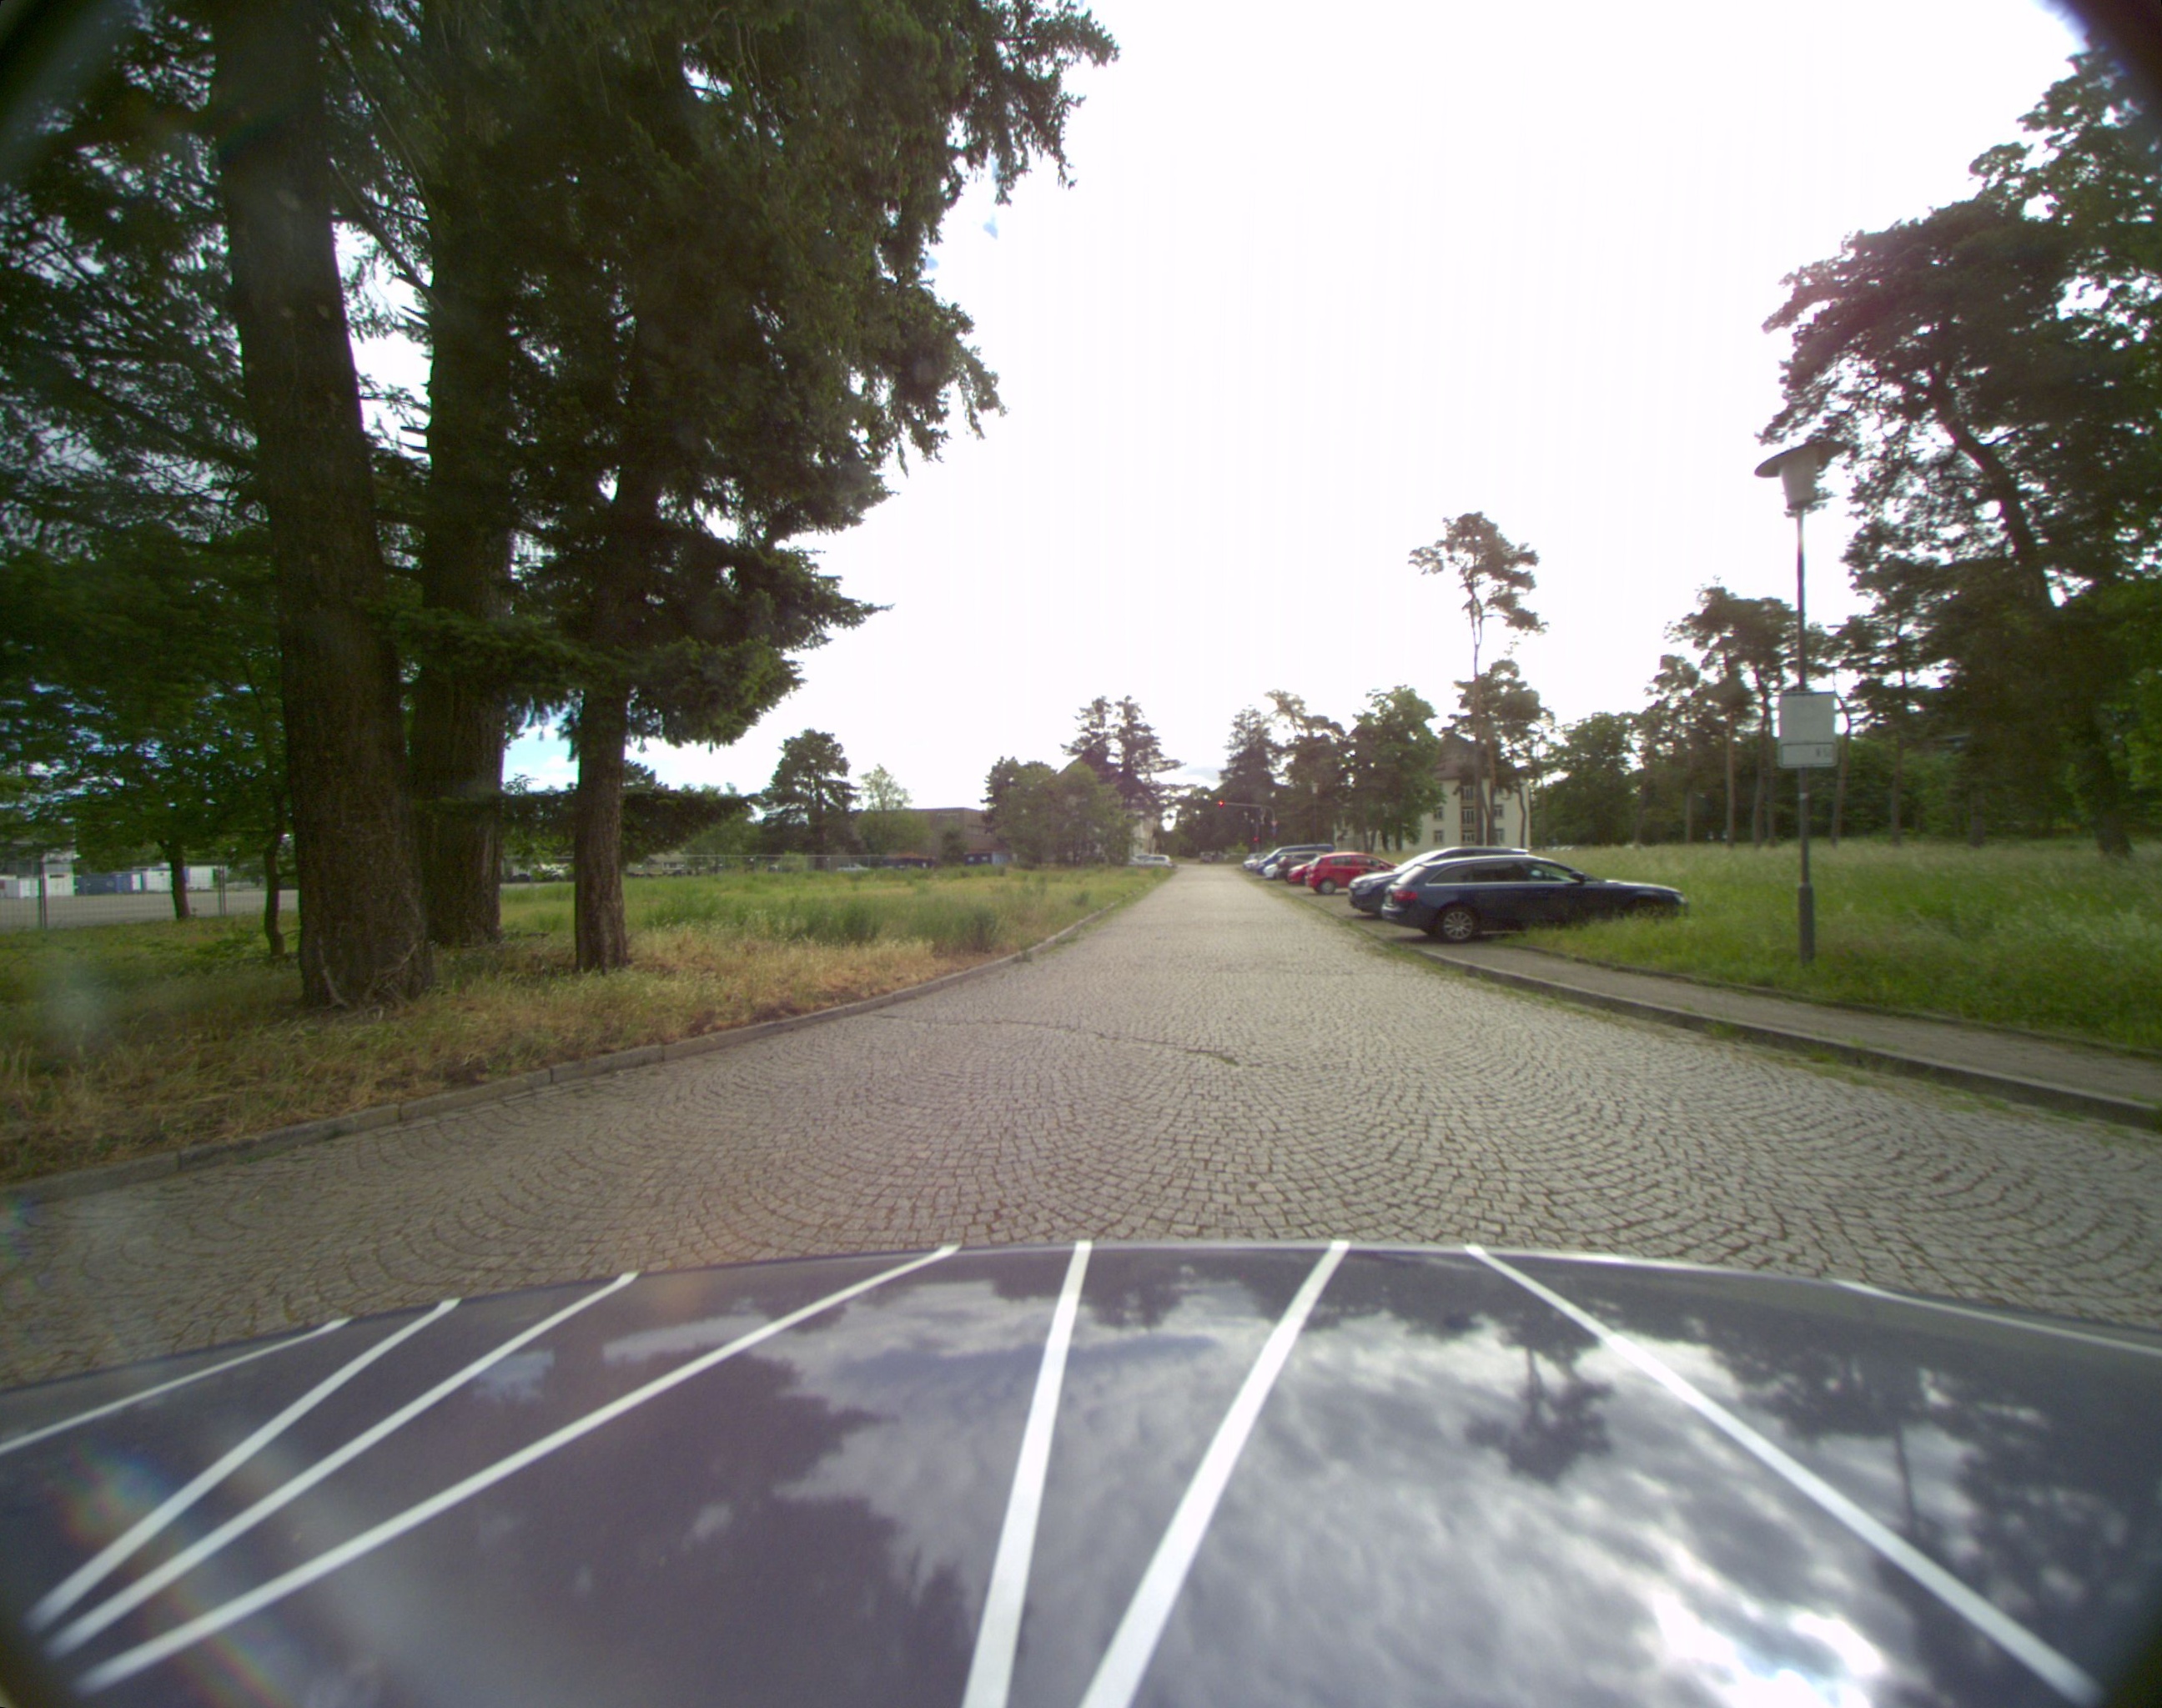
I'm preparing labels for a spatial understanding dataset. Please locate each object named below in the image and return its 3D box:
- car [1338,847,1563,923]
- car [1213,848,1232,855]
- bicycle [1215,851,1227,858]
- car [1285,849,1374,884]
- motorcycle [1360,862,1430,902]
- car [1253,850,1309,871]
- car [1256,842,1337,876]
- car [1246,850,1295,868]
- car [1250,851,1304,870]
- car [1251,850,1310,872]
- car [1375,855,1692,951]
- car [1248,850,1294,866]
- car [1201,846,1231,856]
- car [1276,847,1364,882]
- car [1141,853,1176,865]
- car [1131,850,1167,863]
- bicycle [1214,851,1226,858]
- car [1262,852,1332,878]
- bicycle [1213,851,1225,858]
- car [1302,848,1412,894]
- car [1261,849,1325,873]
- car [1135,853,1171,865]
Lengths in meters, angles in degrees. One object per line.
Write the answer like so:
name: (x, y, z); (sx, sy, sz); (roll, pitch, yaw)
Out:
car: (8.468, 0.692, 17.774); (4.360, 1.553, 1.765); (-2, 0, 8)
car: (24.802, -0.432, 133.526); (3.116, 1.046, 1.340); (-1, 1, 2)
bicycle: (22.203, 0.019, 120.520); (1.860, 1.089, 0.511); (-1, 1, 2)
car: (11.544, 0.557, 35.503); (3.658, 1.413, 1.578); (-3, 0, 8)
motorcycle: (9.649, 0.852, 23.383); (1.913, 1.186, 0.550); (-1, 1, 4)
car: (15.229, 0.480, 57.991); (3.948, 1.331, 1.585); (-3, 0, 8)
car: (13.239, 0.303, 46.947); (4.539, 1.891, 1.794); (-3, 0, 8)
car: (16.185, 0.455, 65.042); (3.948, 1.331, 1.585); (-3, 0, 8)
car: (15.599, 0.530, 60.684); (3.948, 1.331, 1.585); (-3, 0, 8)
car: (14.412, 0.498, 55.094); (3.948, 1.331, 1.585); (-3, 0, 8)
car: (7.558, 0.822, 13.157); (4.348, 1.397, 1.765); (-2, 0, 12)
car: (17.522, 0.361, 70.347); (3.948, 1.331, 1.585); (-3, 0, 8)
car: (24.326, -0.511, 136.908); (4.982, 1.612, 1.902); (-1, 1, 2)
car: (11.936, 0.503, 38.182); (3.948, 1.536, 1.765); (-3, 0, 8)
car: (7.475, 0.466, 73.499); (3.265, 1.081, 1.397); (-1, 1, 5)
car: (6.863, 0.255, 76.516); (3.591, 1.203, 1.585); (-1, 1, 8)
bicycle: (21.877, 0.038, 119.734); (1.860, 1.089, 0.511); (-1, 1, 2)
car: (12.586, 0.634, 44.498); (3.690, 1.331, 1.585); (-3, 0, 8)
bicycle: (21.662, 0.053, 119.326); (1.860, 1.089, 0.511); (-1, 1, 2)
car: (10.076, 0.618, 27.971); (3.495, 1.473, 1.603); (-3, 0, 8)
car: (14.473, 0.467, 51.975); (3.948, 1.426, 1.585); (-3, 0, 8)
car: (6.740, 0.442, 71.121); (3.265, 1.081, 1.450); (-1, 1, 5)
